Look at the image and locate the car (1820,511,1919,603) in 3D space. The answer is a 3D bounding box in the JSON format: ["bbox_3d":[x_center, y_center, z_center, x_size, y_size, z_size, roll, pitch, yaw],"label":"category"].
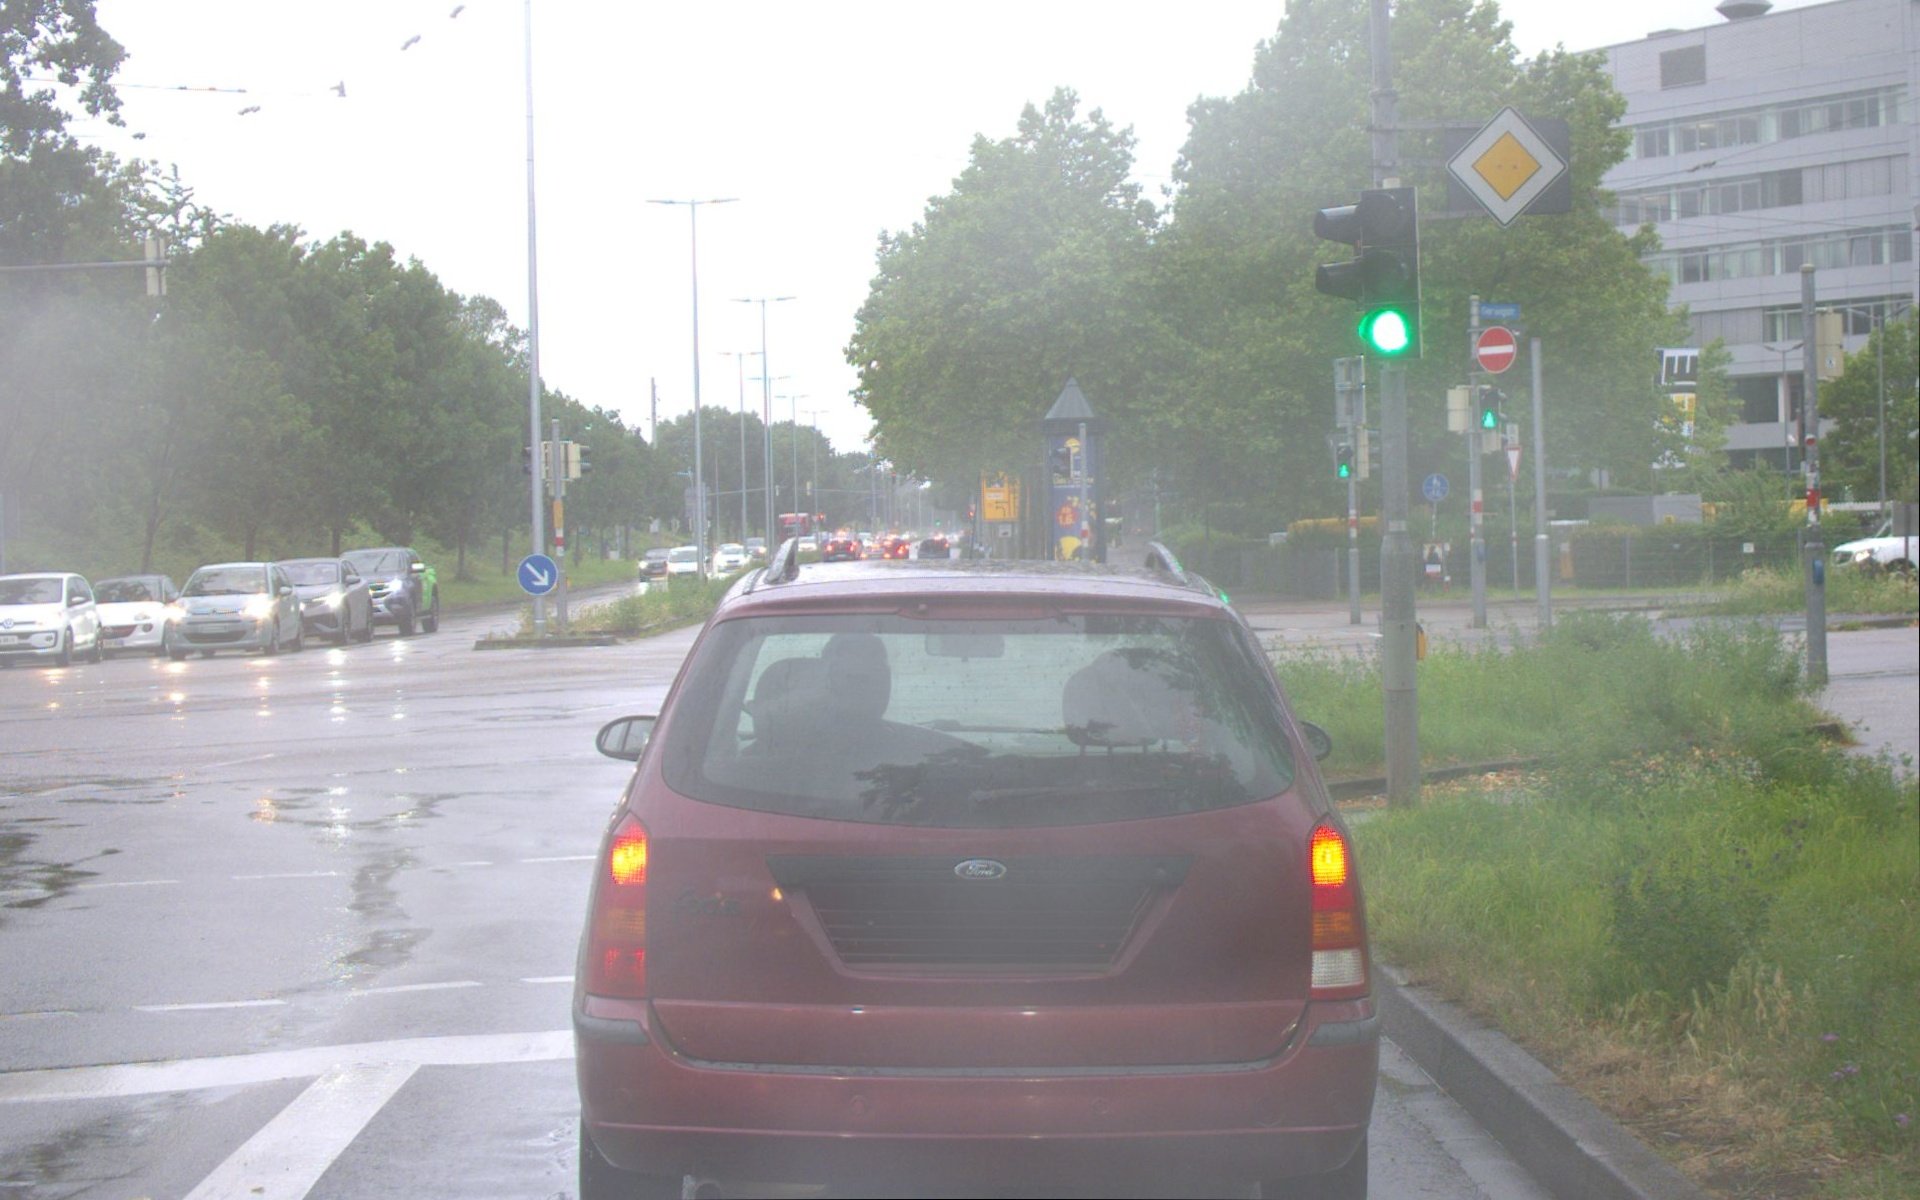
[{"bbox_3d":[18.803,-0.831,65.751,4.228,1.720,1.742,0,1,-10],"label":"car"}]

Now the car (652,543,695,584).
[{"bbox_3d":[-12.476,-1.598,149.971,1.743,1.696,4.285,-3,1,-4],"label":"car"}]

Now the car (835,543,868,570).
[{"bbox_3d":[-6.344,-2.560,201.959,1.698,1.522,3.846,-1,1,1],"label":"car"}]

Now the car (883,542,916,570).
[{"bbox_3d":[-3.405,-2.489,193.495,1.698,1.522,3.846,-1,1,1],"label":"car"}]

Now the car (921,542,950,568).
[{"bbox_3d":[-1.467,-2.703,208.059,1.671,1.522,3.846,-1,1,1],"label":"car"}]

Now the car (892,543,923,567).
[{"bbox_3d":[-3.510,-3.032,229.976,1.671,1.522,3.845,-1,1,4],"label":"car"}]

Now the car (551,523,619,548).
[{"bbox_3d":[-26.494,-4.547,242.837,4.271,1.591,1.969,-3,1,-36],"label":"car"}]

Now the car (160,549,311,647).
[{"bbox_3d":[-11.663,-0.061,55.556,1.638,1.468,3.965,-2,1,-1],"label":"car"}]

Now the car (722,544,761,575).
[{"bbox_3d":[-12.360,-2.309,194.754,1.963,1.696,4.284,-2,1,-1],"label":"car"}]

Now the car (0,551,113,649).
[{"bbox_3d":[-14.641,-0.012,54.450,1.638,1.447,3.788,-2,1,-3],"label":"car"}]

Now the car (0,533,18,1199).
[{"bbox_3d":[-2.673,0.687,4.310,1.769,1.568,4.821,1,1,-2],"label":"car"}]

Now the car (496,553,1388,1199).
[{"bbox_3d":[-0.085,0.637,8.257,1.642,1.460,3.733,1,1,-2],"label":"car"}]

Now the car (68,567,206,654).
[{"bbox_3d":[-14.522,0.157,60.839,1.590,1.399,3.823,-2,1,-2],"label":"car"}]

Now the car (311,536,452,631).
[{"bbox_3d":[-11.869,-0.386,70.860,2.065,1.813,5.542,-2,1,-2],"label":"car"}]

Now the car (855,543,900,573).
[{"bbox_3d":[-4.363,-2.248,182.830,2.147,1.522,4.192,-1,1,2],"label":"car"}]

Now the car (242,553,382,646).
[{"bbox_3d":[-11.755,-0.027,62.645,1.762,1.580,4.814,-2,0,-2],"label":"car"}]
